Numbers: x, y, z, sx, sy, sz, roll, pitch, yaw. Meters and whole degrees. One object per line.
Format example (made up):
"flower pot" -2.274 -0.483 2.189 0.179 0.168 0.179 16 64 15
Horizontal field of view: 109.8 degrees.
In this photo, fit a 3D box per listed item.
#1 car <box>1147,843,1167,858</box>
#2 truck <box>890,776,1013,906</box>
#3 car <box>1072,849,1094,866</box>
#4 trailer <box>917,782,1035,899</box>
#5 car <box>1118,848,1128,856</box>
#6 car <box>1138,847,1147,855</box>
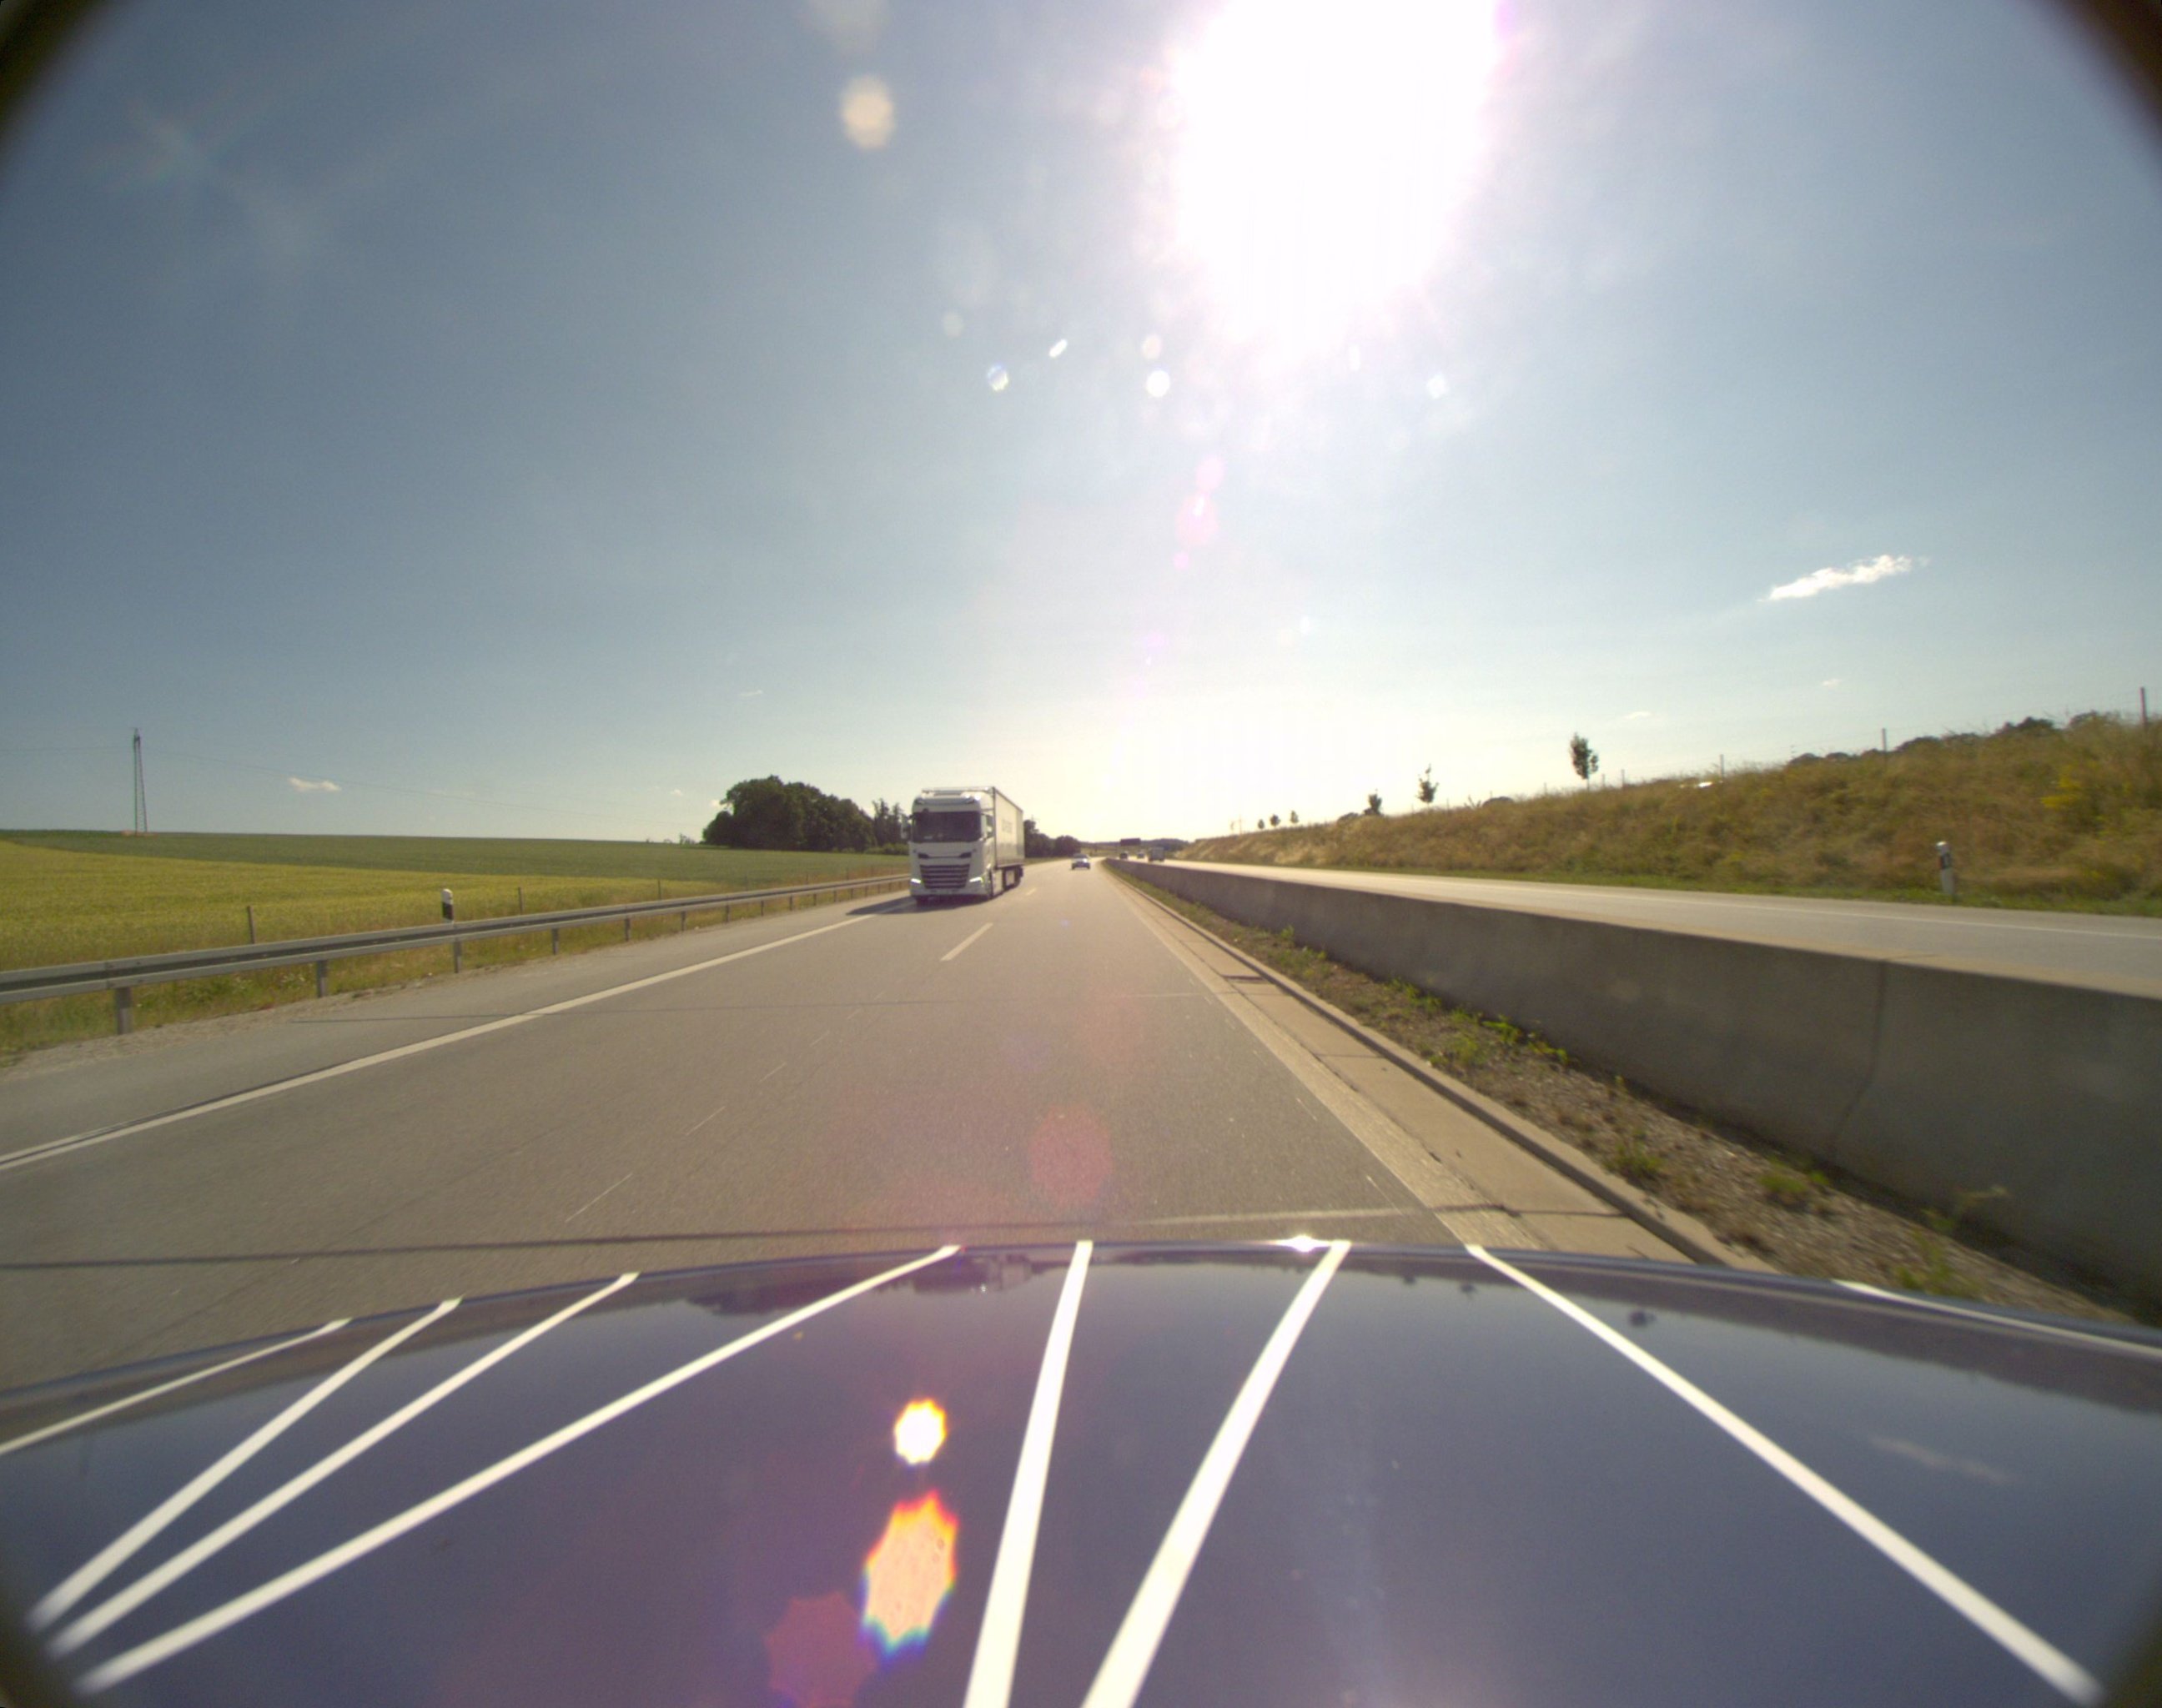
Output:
"car" 10.548 -0.475 105.505 2.239 1.923 5.794 -2 1 0
"truck" -4.372 -0.442 27.081 3.090 3.991 6.188 -2 1 1
"car" 0.224 0.342 75.986 1.891 1.565 3.793 -2 1 5
"trailer" -4.325 -0.544 35.549 3.184 4.269 15.458 -1 0 0
"car" 8.864 -0.420 160.797 1.884 1.566 4.565 -1 1 1
"car" 13.875 -0.685 170.795 1.883 1.493 4.565 -1 1 2
